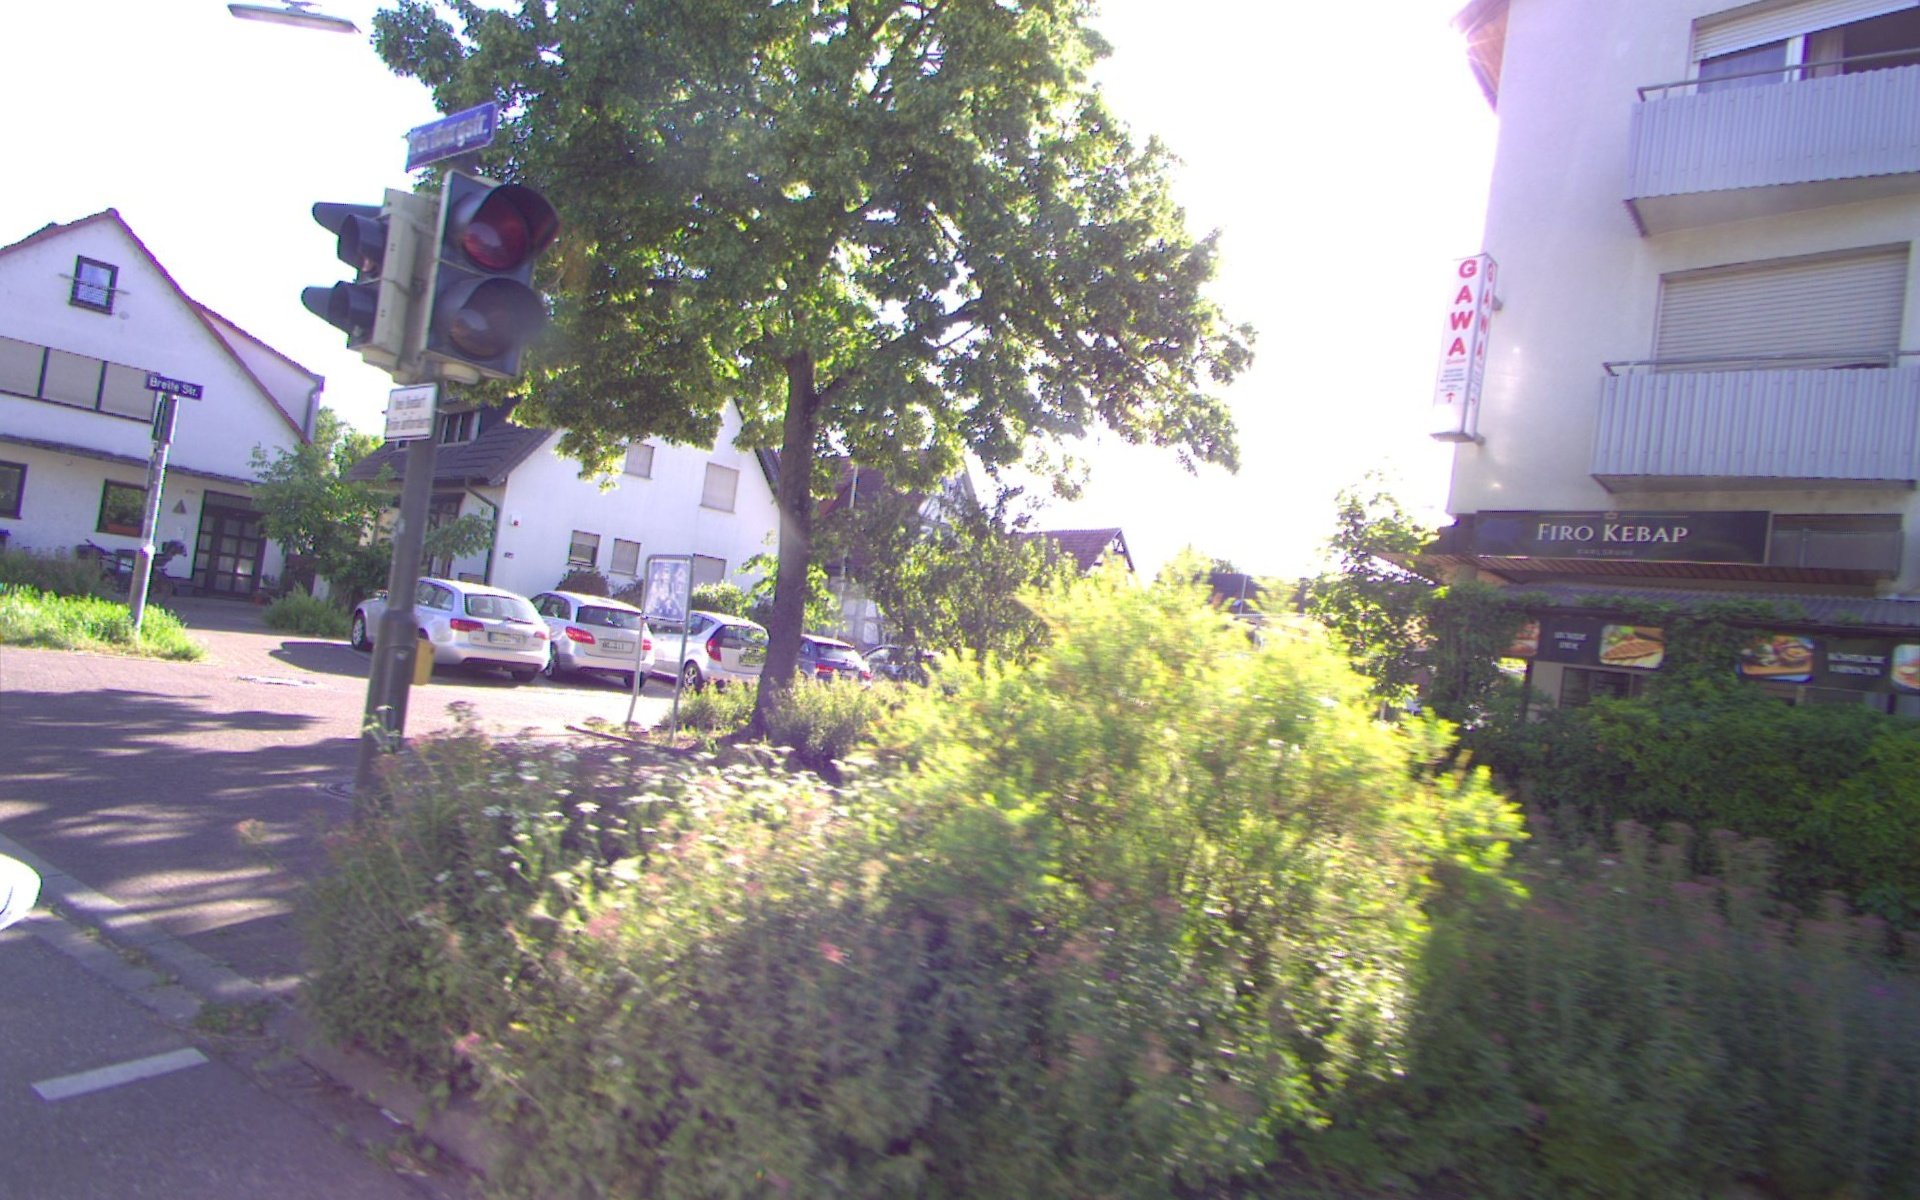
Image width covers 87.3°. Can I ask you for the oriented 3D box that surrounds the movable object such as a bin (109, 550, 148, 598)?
[{"bbox_3d":[-18.929,-0.585,22.894,0.585,0.988,0.497,7,-2,41],"label":"movable object such as a bin"}]

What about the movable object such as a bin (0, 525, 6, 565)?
[{"bbox_3d":[-20.388,-1.043,20.983,0.738,1.135,0.526,7,-2,41],"label":"movable object such as a bin"}]

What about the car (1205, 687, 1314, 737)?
[{"bbox_3d":[11.287,4.233,38.024,3.567,1.208,1.341,8,-2,41],"label":"car"}]

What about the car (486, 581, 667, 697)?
[{"bbox_3d":[-7.494,0.694,19.404,1.704,1.534,4.352,11,-2,-41],"label":"car"}]

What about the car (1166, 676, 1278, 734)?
[{"bbox_3d":[9.611,3.852,37.033,3.569,1.469,1.454,8,-2,42],"label":"car"}]

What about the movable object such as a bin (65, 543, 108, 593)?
[{"bbox_3d":[-19.388,-0.704,22.322,0.660,0.994,0.529,7,-2,41],"label":"movable object such as a bin"}]

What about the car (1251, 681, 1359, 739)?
[{"bbox_3d":[13.676,4.366,39.993,3.652,1.645,1.408,8,0,41],"label":"car"}]

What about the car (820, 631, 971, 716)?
[{"bbox_3d":[-1.676,1.803,25.139,1.593,1.491,3.761,9,-1,-43],"label":"car"}]

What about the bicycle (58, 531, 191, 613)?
[{"bbox_3d":[-15.922,-0.513,19.207,0.690,1.297,1.738,2,-5,39],"label":"bicycle"}]

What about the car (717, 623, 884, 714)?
[{"bbox_3d":[-3.748,1.534,23.162,1.642,1.364,4.062,12,-3,-43],"label":"car"}]

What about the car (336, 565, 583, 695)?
[{"bbox_3d":[-8.622,0.463,17.140,4.734,1.438,1.993,8,-2,41],"label":"car"}]

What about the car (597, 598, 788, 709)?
[{"bbox_3d":[-5.714,1.072,21.168,4.345,1.568,1.707,8,-3,44],"label":"car"}]
